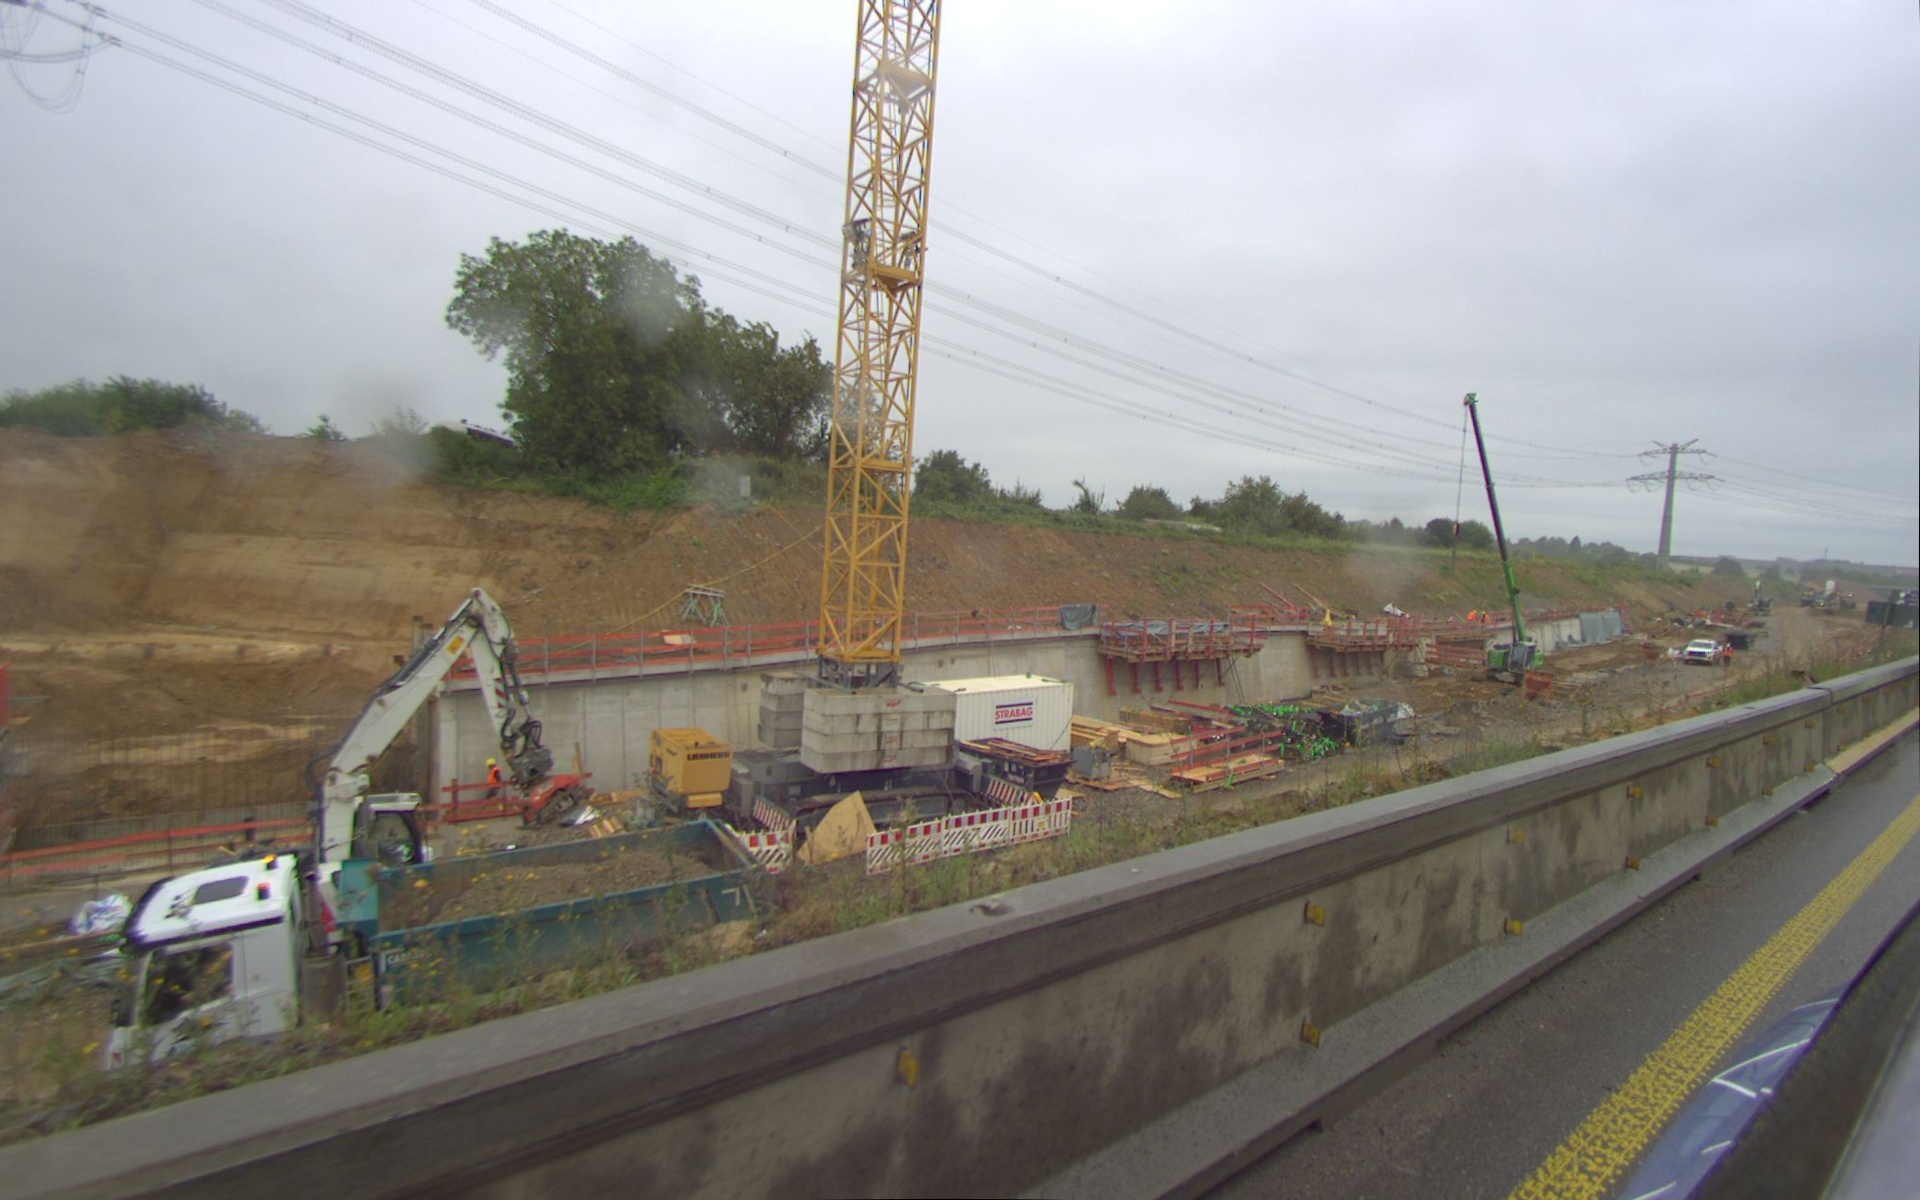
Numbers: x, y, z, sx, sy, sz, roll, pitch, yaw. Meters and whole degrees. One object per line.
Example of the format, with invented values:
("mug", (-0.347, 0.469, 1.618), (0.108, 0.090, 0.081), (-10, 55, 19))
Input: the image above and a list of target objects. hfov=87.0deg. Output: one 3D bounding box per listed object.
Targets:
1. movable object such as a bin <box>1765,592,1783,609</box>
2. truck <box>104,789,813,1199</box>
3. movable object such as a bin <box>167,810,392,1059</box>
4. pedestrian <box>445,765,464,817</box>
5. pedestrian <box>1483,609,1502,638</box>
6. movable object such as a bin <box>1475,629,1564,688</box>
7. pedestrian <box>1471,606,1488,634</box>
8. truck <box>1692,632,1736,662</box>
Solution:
("movable object such as a bin", (138.068, 0.131, 171.665), (2.245, 2.753, 3.939), (1, 1, 42))
("truck", (-6.835, 5.261, 15.180), (8.766, 3.547, 2.712), (0, 1, -28))
("movable object such as a bin", (-11.719, 5.483, 17.388), (2.916, 2.772, 3.156), (0, 1, -40))
("pedestrian", (-14.996, 5.660, 30.023), (0.392, 1.455, 0.424), (0, -8, -37))
("pedestrian", (42.671, 1.872, 81.132), (0.988, 2.260, 0.916), (-1, -2, -41))
("movable object such as a bin", (35.589, 3.632, 64.386), (3.795, 2.836, 4.781), (3, 7, 45))
("pedestrian", (42.447, 1.635, 82.640), (0.914, 2.275, 0.991), (-5, -2, 42))
("truck", (57.698, 3.567, 77.398), (5.692, 1.894, 1.764), (-1, 4, -45))
